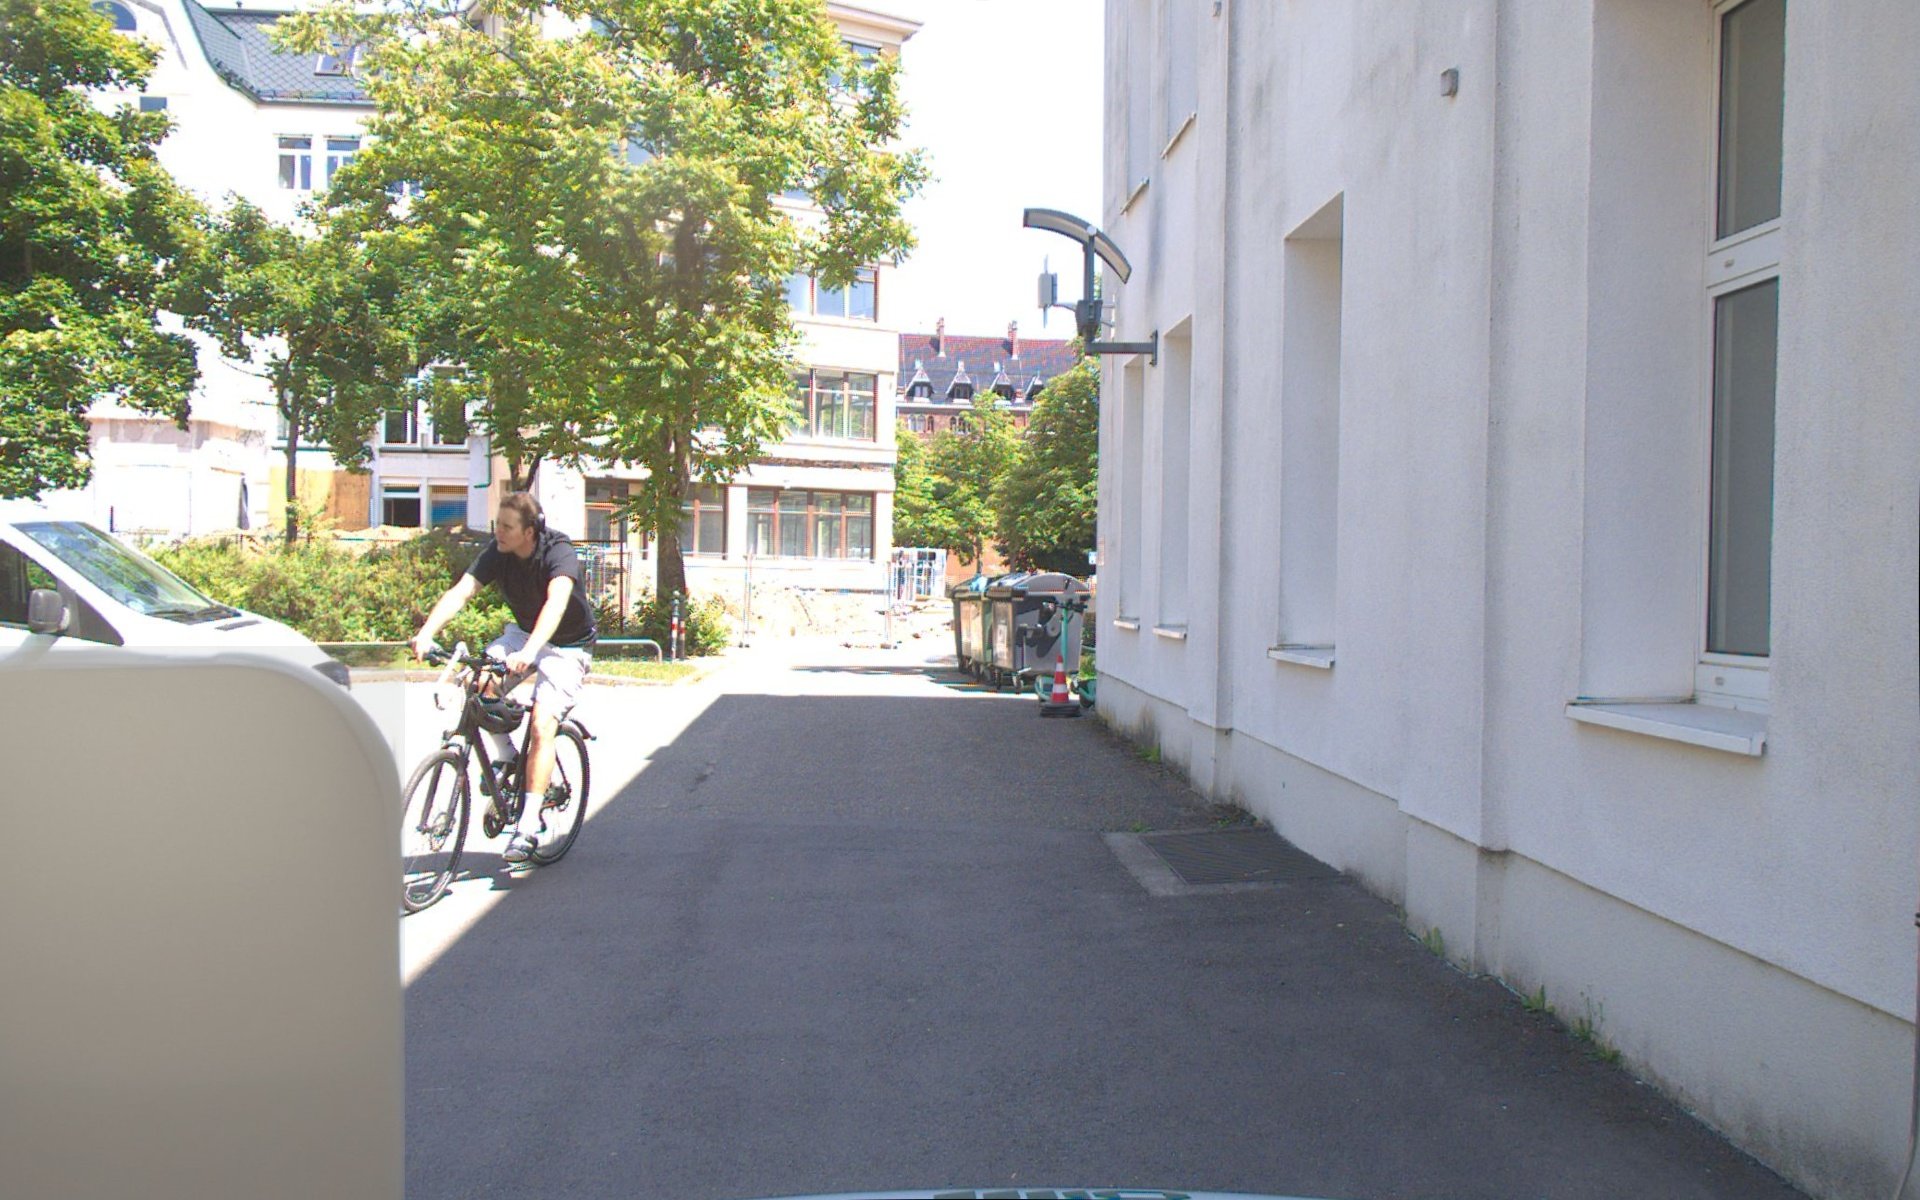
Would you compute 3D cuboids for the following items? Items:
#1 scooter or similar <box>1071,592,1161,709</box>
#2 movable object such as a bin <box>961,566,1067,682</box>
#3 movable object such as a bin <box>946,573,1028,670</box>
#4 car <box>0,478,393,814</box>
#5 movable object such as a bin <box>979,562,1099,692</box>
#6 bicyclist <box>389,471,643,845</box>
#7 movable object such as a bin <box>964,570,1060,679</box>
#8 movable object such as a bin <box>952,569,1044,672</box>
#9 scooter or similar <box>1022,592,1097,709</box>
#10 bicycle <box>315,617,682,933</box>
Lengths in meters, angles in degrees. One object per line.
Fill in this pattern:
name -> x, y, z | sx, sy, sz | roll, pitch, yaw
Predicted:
scooter or similar -> 1.653, 0.520, 17.675 | 0.457, 1.194, 1.248 | 1, 0, -21
movable object such as a bin -> 0.706, 0.322, 22.210 | 1.157, 1.495, 1.308 | 1, -1, -10
movable object such as a bin -> 0.446, 0.339, 26.564 | 1.154, 1.495, 1.334 | 1, -1, 8
car -> -6.242, 0.258, 10.486 | 4.699, 1.944, 1.996 | 0, 0, -9
movable object such as a bin -> 0.959, 0.328, 20.489 | 1.135, 1.532, 1.458 | 1, -1, -13
bicyclist -> -2.070, 0.228, 7.809 | 0.708, 1.637, 0.978 | 1, 3, 22
movable object such as a bin -> 0.720, 0.343, 23.597 | 1.156, 1.495, 1.309 | 1, -1, -8
movable object such as a bin -> 0.559, 0.313, 25.030 | 1.157, 1.495, 1.309 | 1, -1, -9
scooter or similar -> 1.055, 0.522, 17.712 | 0.455, 1.194, 1.353 | 1, 0, -12
bicycle -> -2.089, 0.733, 7.795 | 0.631, 1.194, 1.905 | 1, 3, 22
